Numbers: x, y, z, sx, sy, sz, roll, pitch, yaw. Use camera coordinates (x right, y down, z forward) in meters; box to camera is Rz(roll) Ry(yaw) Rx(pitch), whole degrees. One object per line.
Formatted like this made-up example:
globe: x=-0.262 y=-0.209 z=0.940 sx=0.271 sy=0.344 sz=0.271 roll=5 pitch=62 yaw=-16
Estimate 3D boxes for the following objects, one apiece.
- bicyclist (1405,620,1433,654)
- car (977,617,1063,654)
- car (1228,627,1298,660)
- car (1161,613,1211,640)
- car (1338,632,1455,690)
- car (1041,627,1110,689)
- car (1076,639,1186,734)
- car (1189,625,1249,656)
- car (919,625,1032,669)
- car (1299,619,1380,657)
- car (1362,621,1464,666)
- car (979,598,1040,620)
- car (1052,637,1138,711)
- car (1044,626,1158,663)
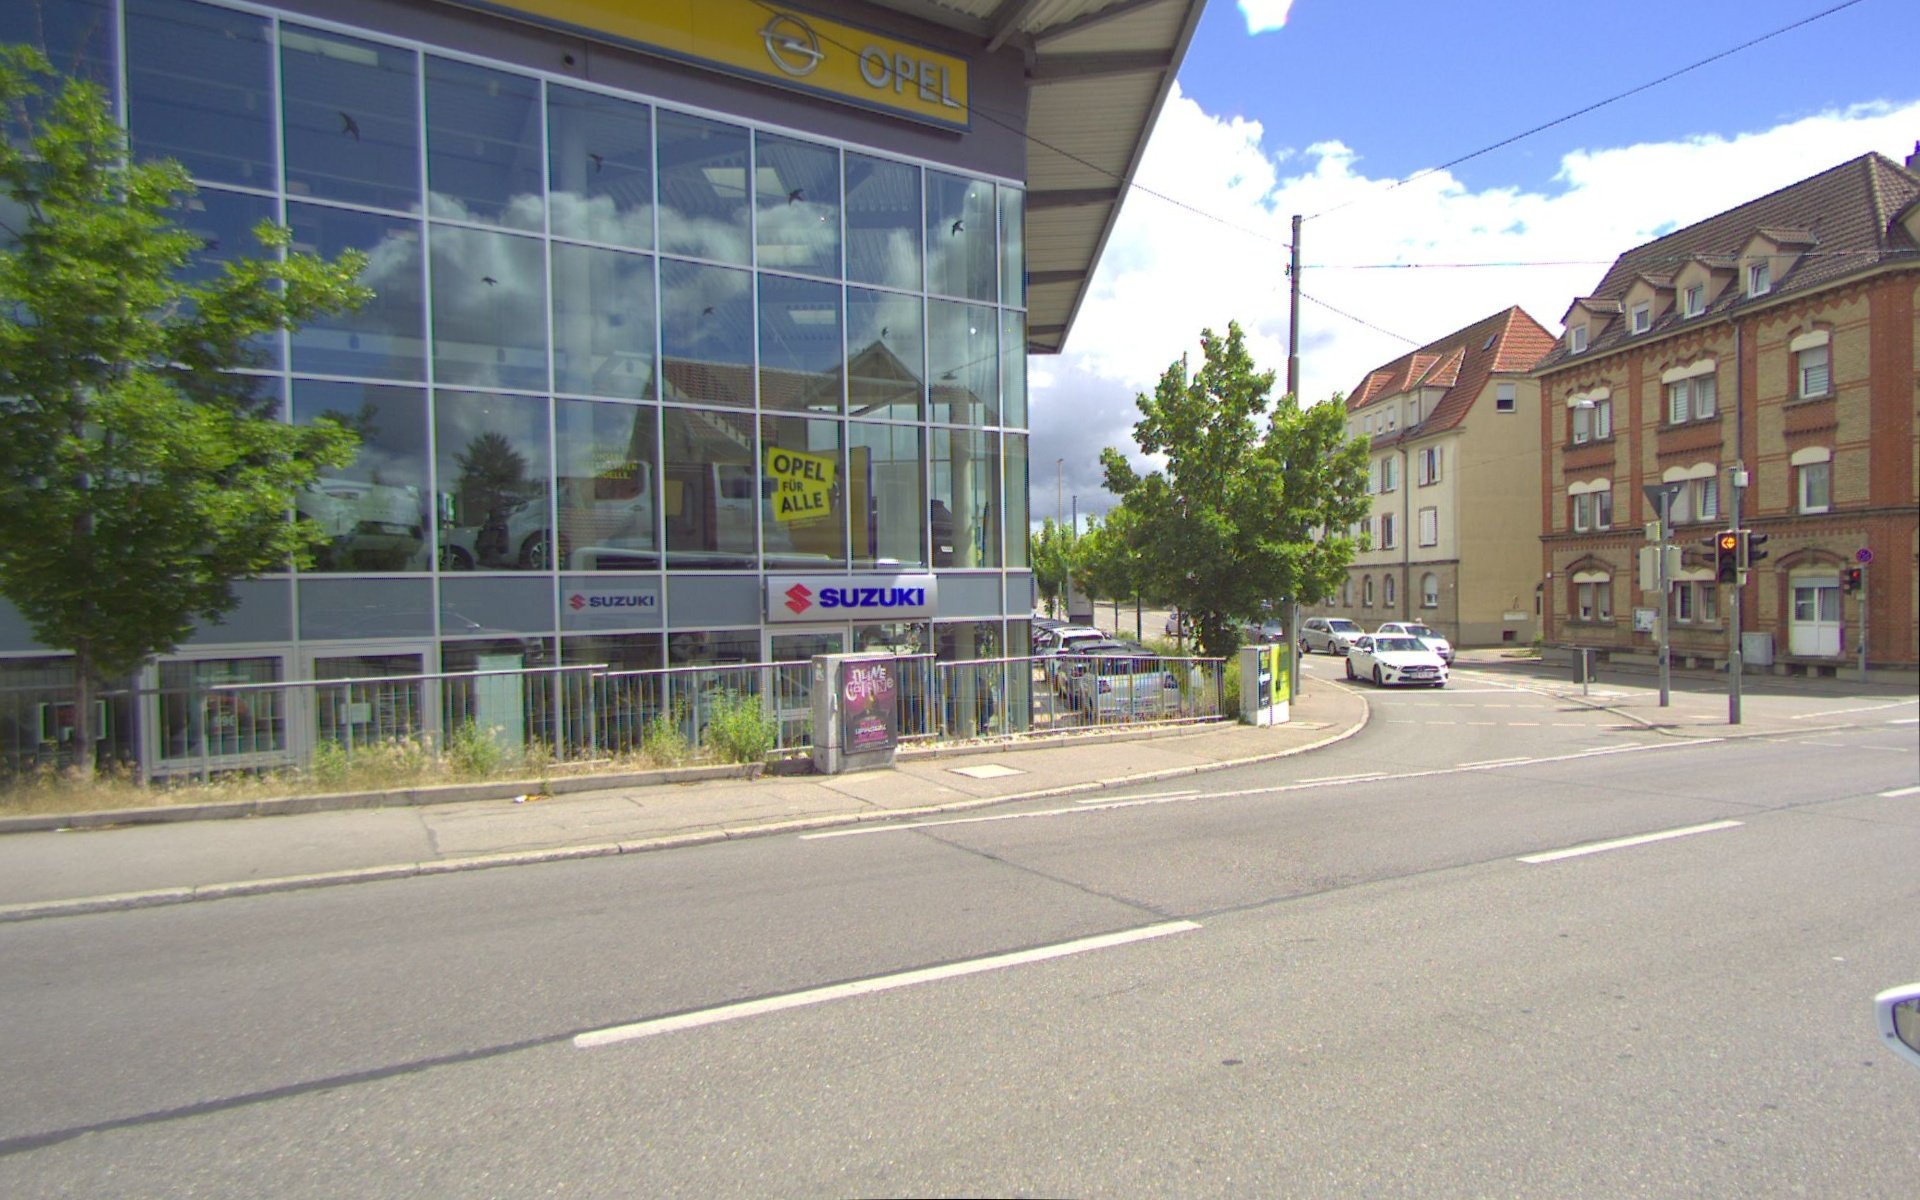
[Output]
bicyclist: x=20.893 y=1.681 z=45.695 sx=0.581 sy=1.519 sz=1.069 roll=1 pitch=-1 yaw=-21
car: x=2.652 y=1.586 z=45.863 sx=1.974 sy=1.599 sz=4.476 roll=1 pitch=-1 yaw=-26
car: x=15.337 y=2.187 z=51.014 sx=1.963 sy=1.539 sz=3.996 roll=1 pitch=-1 yaw=-7
car: x=14.071 y=1.634 z=62.755 sx=1.961 sy=1.607 sz=4.345 roll=1 pitch=0 yaw=-2
car: x=12.373 y=1.686 z=28.768 sx=1.825 sy=1.466 sz=4.394 roll=1 pitch=-1 yaw=6
car: x=3.284 y=1.634 z=29.088 sx=1.487 sy=1.596 sz=3.414 roll=1 pitch=-1 yaw=-2
car: x=3.399 y=1.689 z=20.545 sx=1.720 sy=1.596 sz=3.687 roll=2 pitch=-1 yaw=2
car: x=14.682 y=2.274 z=57.145 sx=1.963 sy=1.664 sz=3.996 roll=1 pitch=-1 yaw=-7
car: x=0.587 y=1.716 z=37.208 sx=3.919 sy=1.478 sz=1.605 roll=1 pitch=-1 yaw=15
car: x=16.740 y=1.644 z=44.507 sx=1.715 sy=1.539 sz=3.996 roll=1 pitch=-1 yaw=-7
car: x=17.067 y=1.610 z=38.082 sx=1.670 sy=1.517 sz=3.995 roll=1 pitch=-1 yaw=-7
car: x=3.227 y=0.592 z=66.301 sx=3.921 sy=1.311 sz=1.818 roll=1 pitch=-1 yaw=0
car: x=3.234 y=1.755 z=24.694 sx=1.487 sy=1.543 sz=3.792 roll=1 pitch=-1 yaw=-2
car: x=5.170 y=1.634 z=37.204 sx=3.921 sy=1.202 sz=1.818 roll=1 pitch=-1 yaw=0
